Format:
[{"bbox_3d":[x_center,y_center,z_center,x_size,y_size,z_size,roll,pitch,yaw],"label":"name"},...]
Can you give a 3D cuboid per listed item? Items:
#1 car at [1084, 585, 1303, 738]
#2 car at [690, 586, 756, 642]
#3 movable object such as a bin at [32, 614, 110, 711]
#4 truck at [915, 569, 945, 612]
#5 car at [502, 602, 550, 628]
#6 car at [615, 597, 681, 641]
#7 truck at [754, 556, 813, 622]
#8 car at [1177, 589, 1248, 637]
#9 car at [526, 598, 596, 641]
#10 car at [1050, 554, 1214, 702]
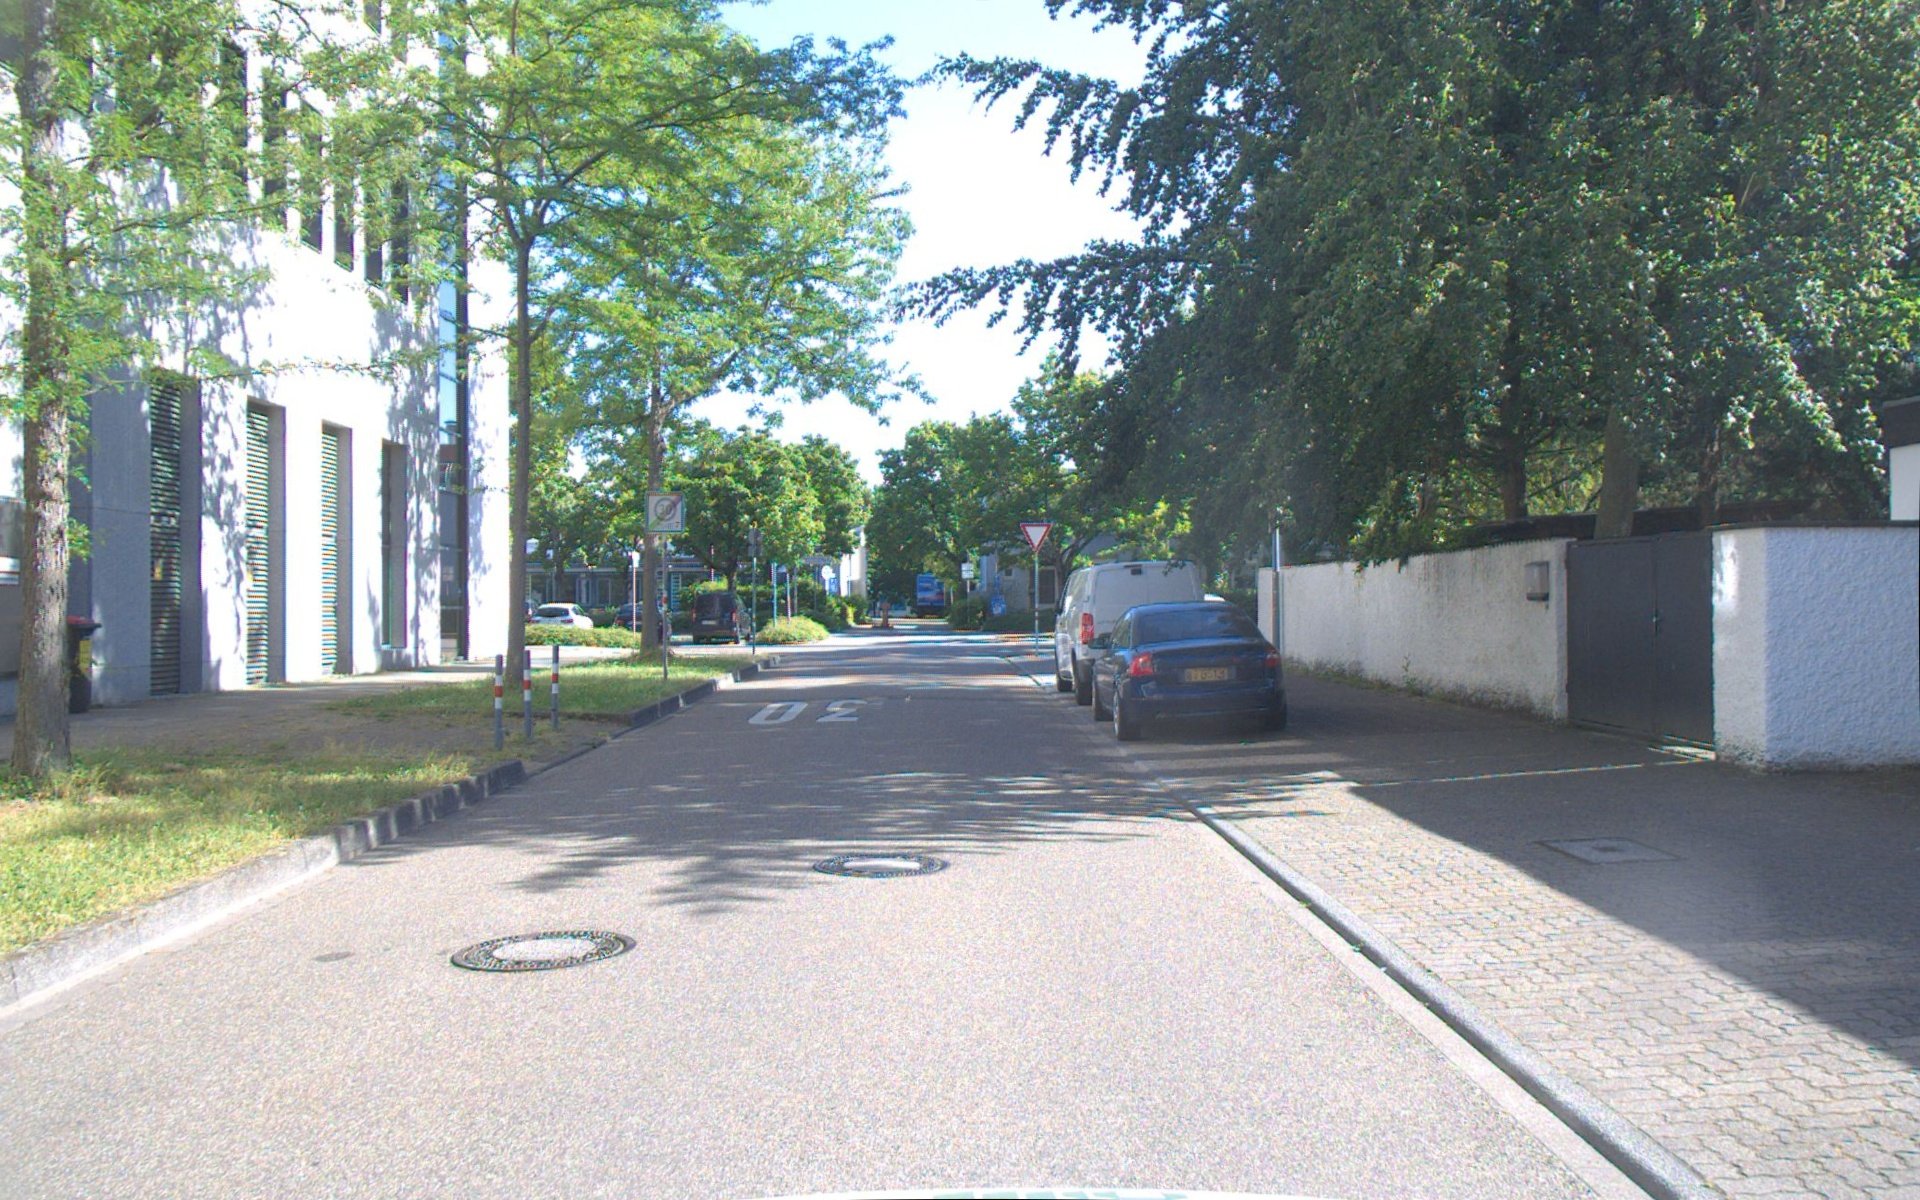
[{"bbox_3d":[2.480,0.606,18.574,1.788,1.448,4.283,-2,0,0],"label":"car"},{"bbox_3d":[-8.626,0.483,60.520,1.836,1.879,4.168,-1,1,-1],"label":"car"},{"bbox_3d":[-9.962,0.690,18.549,0.581,1.058,0.543,1,0,-3],"label":"movable object such as a bin"},{"bbox_3d":[-2.800,-0.859,155.245,2.704,3.937,9.328,1,0,-1],"label":"truck"},{"bbox_3d":[-26.146,0.891,99.675,1.798,1.524,3.908,0,0,1],"label":"car"},{"bbox_3d":[-11.356,0.677,60.365,1.787,1.430,4.166,-1,1,-3],"label":"car"},{"bbox_3d":[-10.810,-0.642,101.647,2.745,3.873,6.925,1,0,1],"label":"truck"},{"bbox_3d":[9.226,0.449,60.752,1.787,1.625,4.166,-1,1,-3],"label":"car"},{"bbox_3d":[-14.556,0.689,60.516,1.766,1.461,3.910,0,1,-3],"label":"car"},{"bbox_3d":[2.453,0.371,24.800,1.860,1.947,5.147,-1,0,0],"label":"car"}]
